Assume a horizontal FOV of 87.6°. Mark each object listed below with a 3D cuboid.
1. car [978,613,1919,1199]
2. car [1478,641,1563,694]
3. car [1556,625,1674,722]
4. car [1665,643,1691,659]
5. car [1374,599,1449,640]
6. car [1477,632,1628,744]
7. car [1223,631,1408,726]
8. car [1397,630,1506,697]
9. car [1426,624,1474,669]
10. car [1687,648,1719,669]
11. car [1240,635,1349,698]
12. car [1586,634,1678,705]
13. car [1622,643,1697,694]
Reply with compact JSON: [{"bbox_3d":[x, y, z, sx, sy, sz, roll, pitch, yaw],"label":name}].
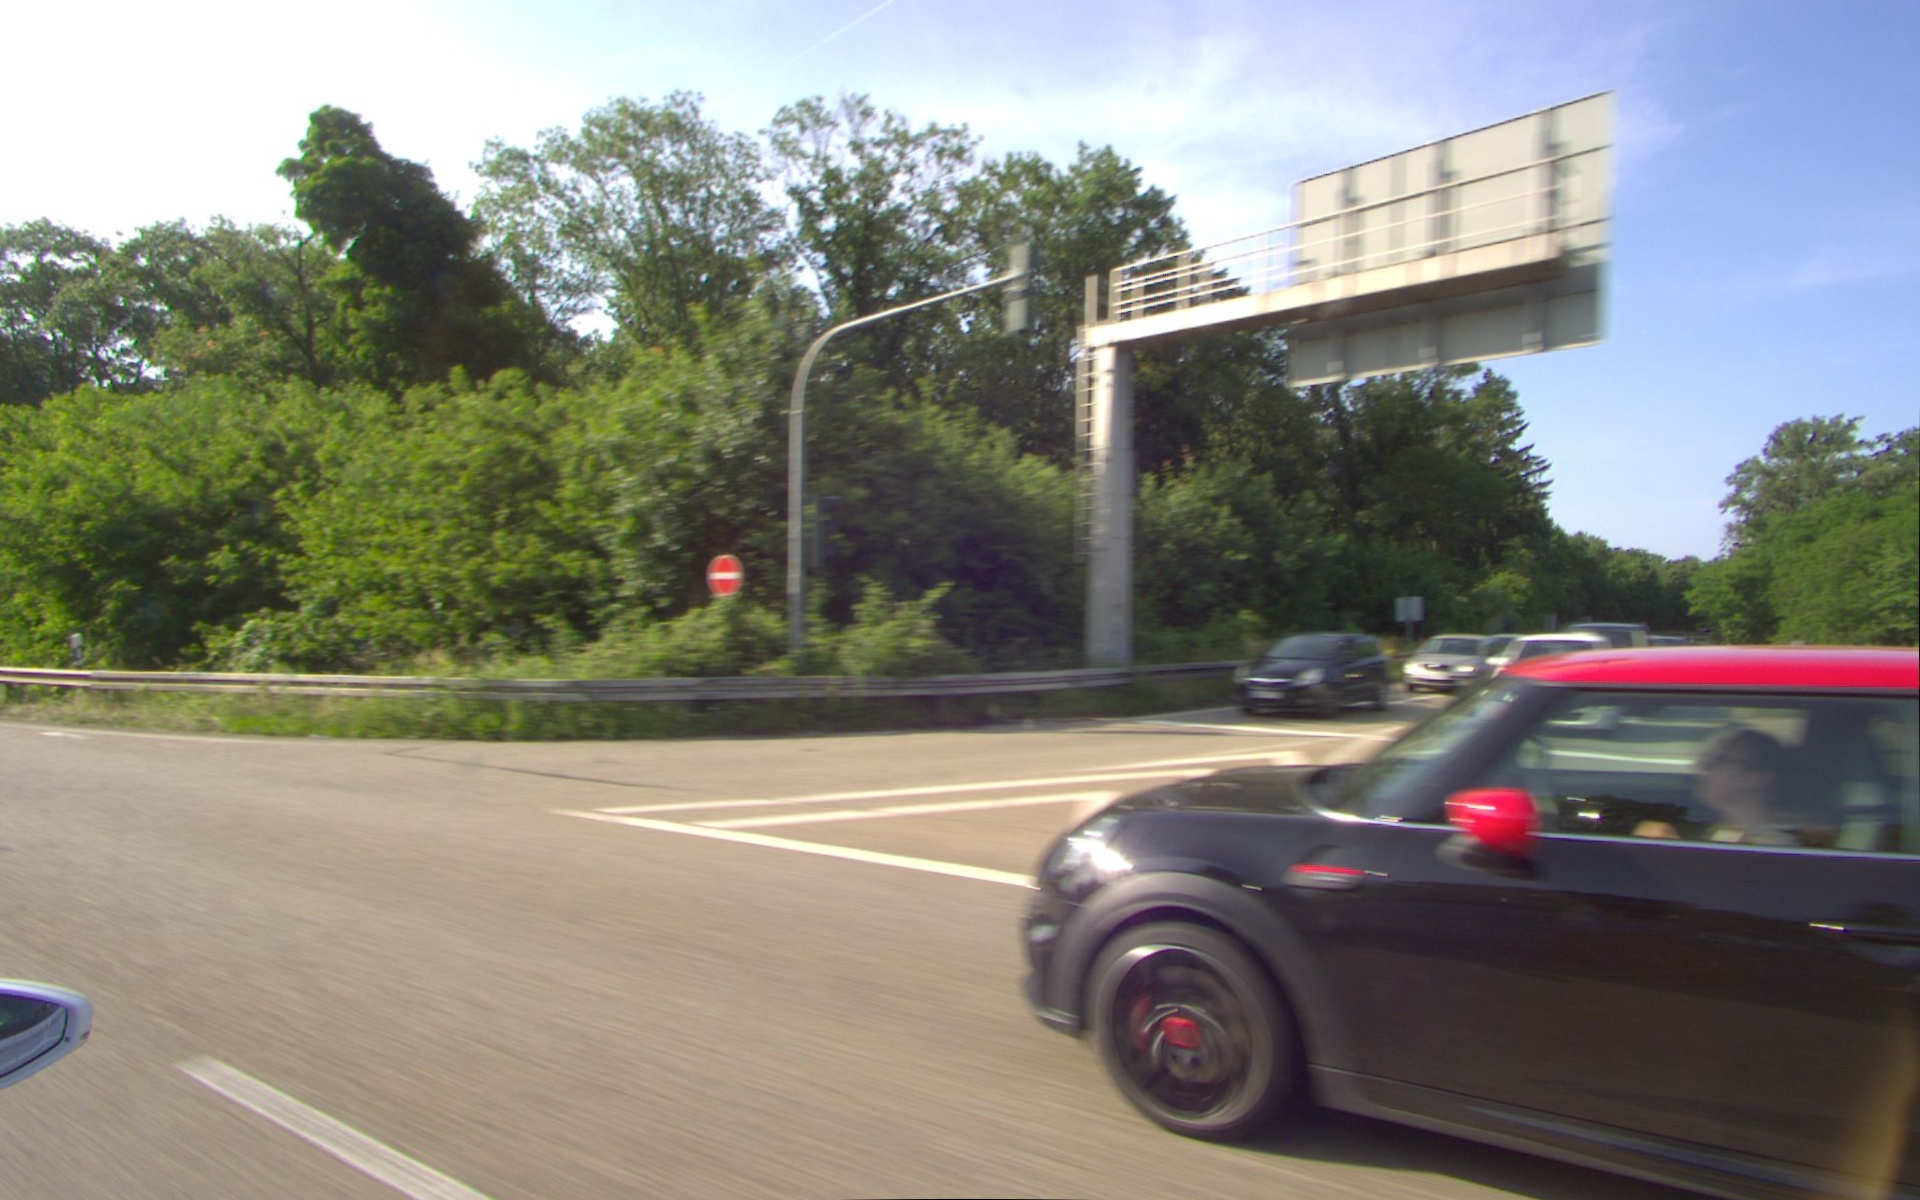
[{"bbox_3d":[2.160,0.815,3.038,3.815,1.486,1.818,-1,-3,30],"label":"car"},{"bbox_3d":[16.970,1.987,30.241,1.844,1.459,4.099,0,-2,35],"label":"car"},{"bbox_3d":[13.318,1.408,20.300,1.844,1.730,4.099,0,-2,35],"label":"car"},{"bbox_3d":[69.549,4.965,96.992,1.843,1.459,4.102,0,-2,33],"label":"car"},{"bbox_3d":[16.933,0.754,37.429,1.844,1.459,4.099,0,-2,35],"label":"car"},{"bbox_3d":[9.428,1.290,15.806,1.784,1.522,3.589,0,-2,35],"label":"car"},{"bbox_3d":[6.561,1.347,18.249,1.765,1.515,4.090,0,-2,42],"label":"car"},{"bbox_3d":[12.391,1.545,25.127,1.844,1.515,4.099,0,-2,35],"label":"car"},{"bbox_3d":[23.549,2.239,48.099,1.572,2.039,3.979,0,-3,34],"label":"car"},{"bbox_3d":[57.449,4.501,77.473,1.844,1.459,4.099,0,-2,35],"label":"car"},{"bbox_3d":[7.971,1.522,23.695,1.471,1.330,3.617,0,-2,35],"label":"car"},{"bbox_3d":[17.365,1.718,25.851,1.844,1.653,4.099,0,-2,35],"label":"car"},{"bbox_3d":[22.081,2.104,31.640,1.844,1.459,4.099,0,-2,35],"label":"car"}]
